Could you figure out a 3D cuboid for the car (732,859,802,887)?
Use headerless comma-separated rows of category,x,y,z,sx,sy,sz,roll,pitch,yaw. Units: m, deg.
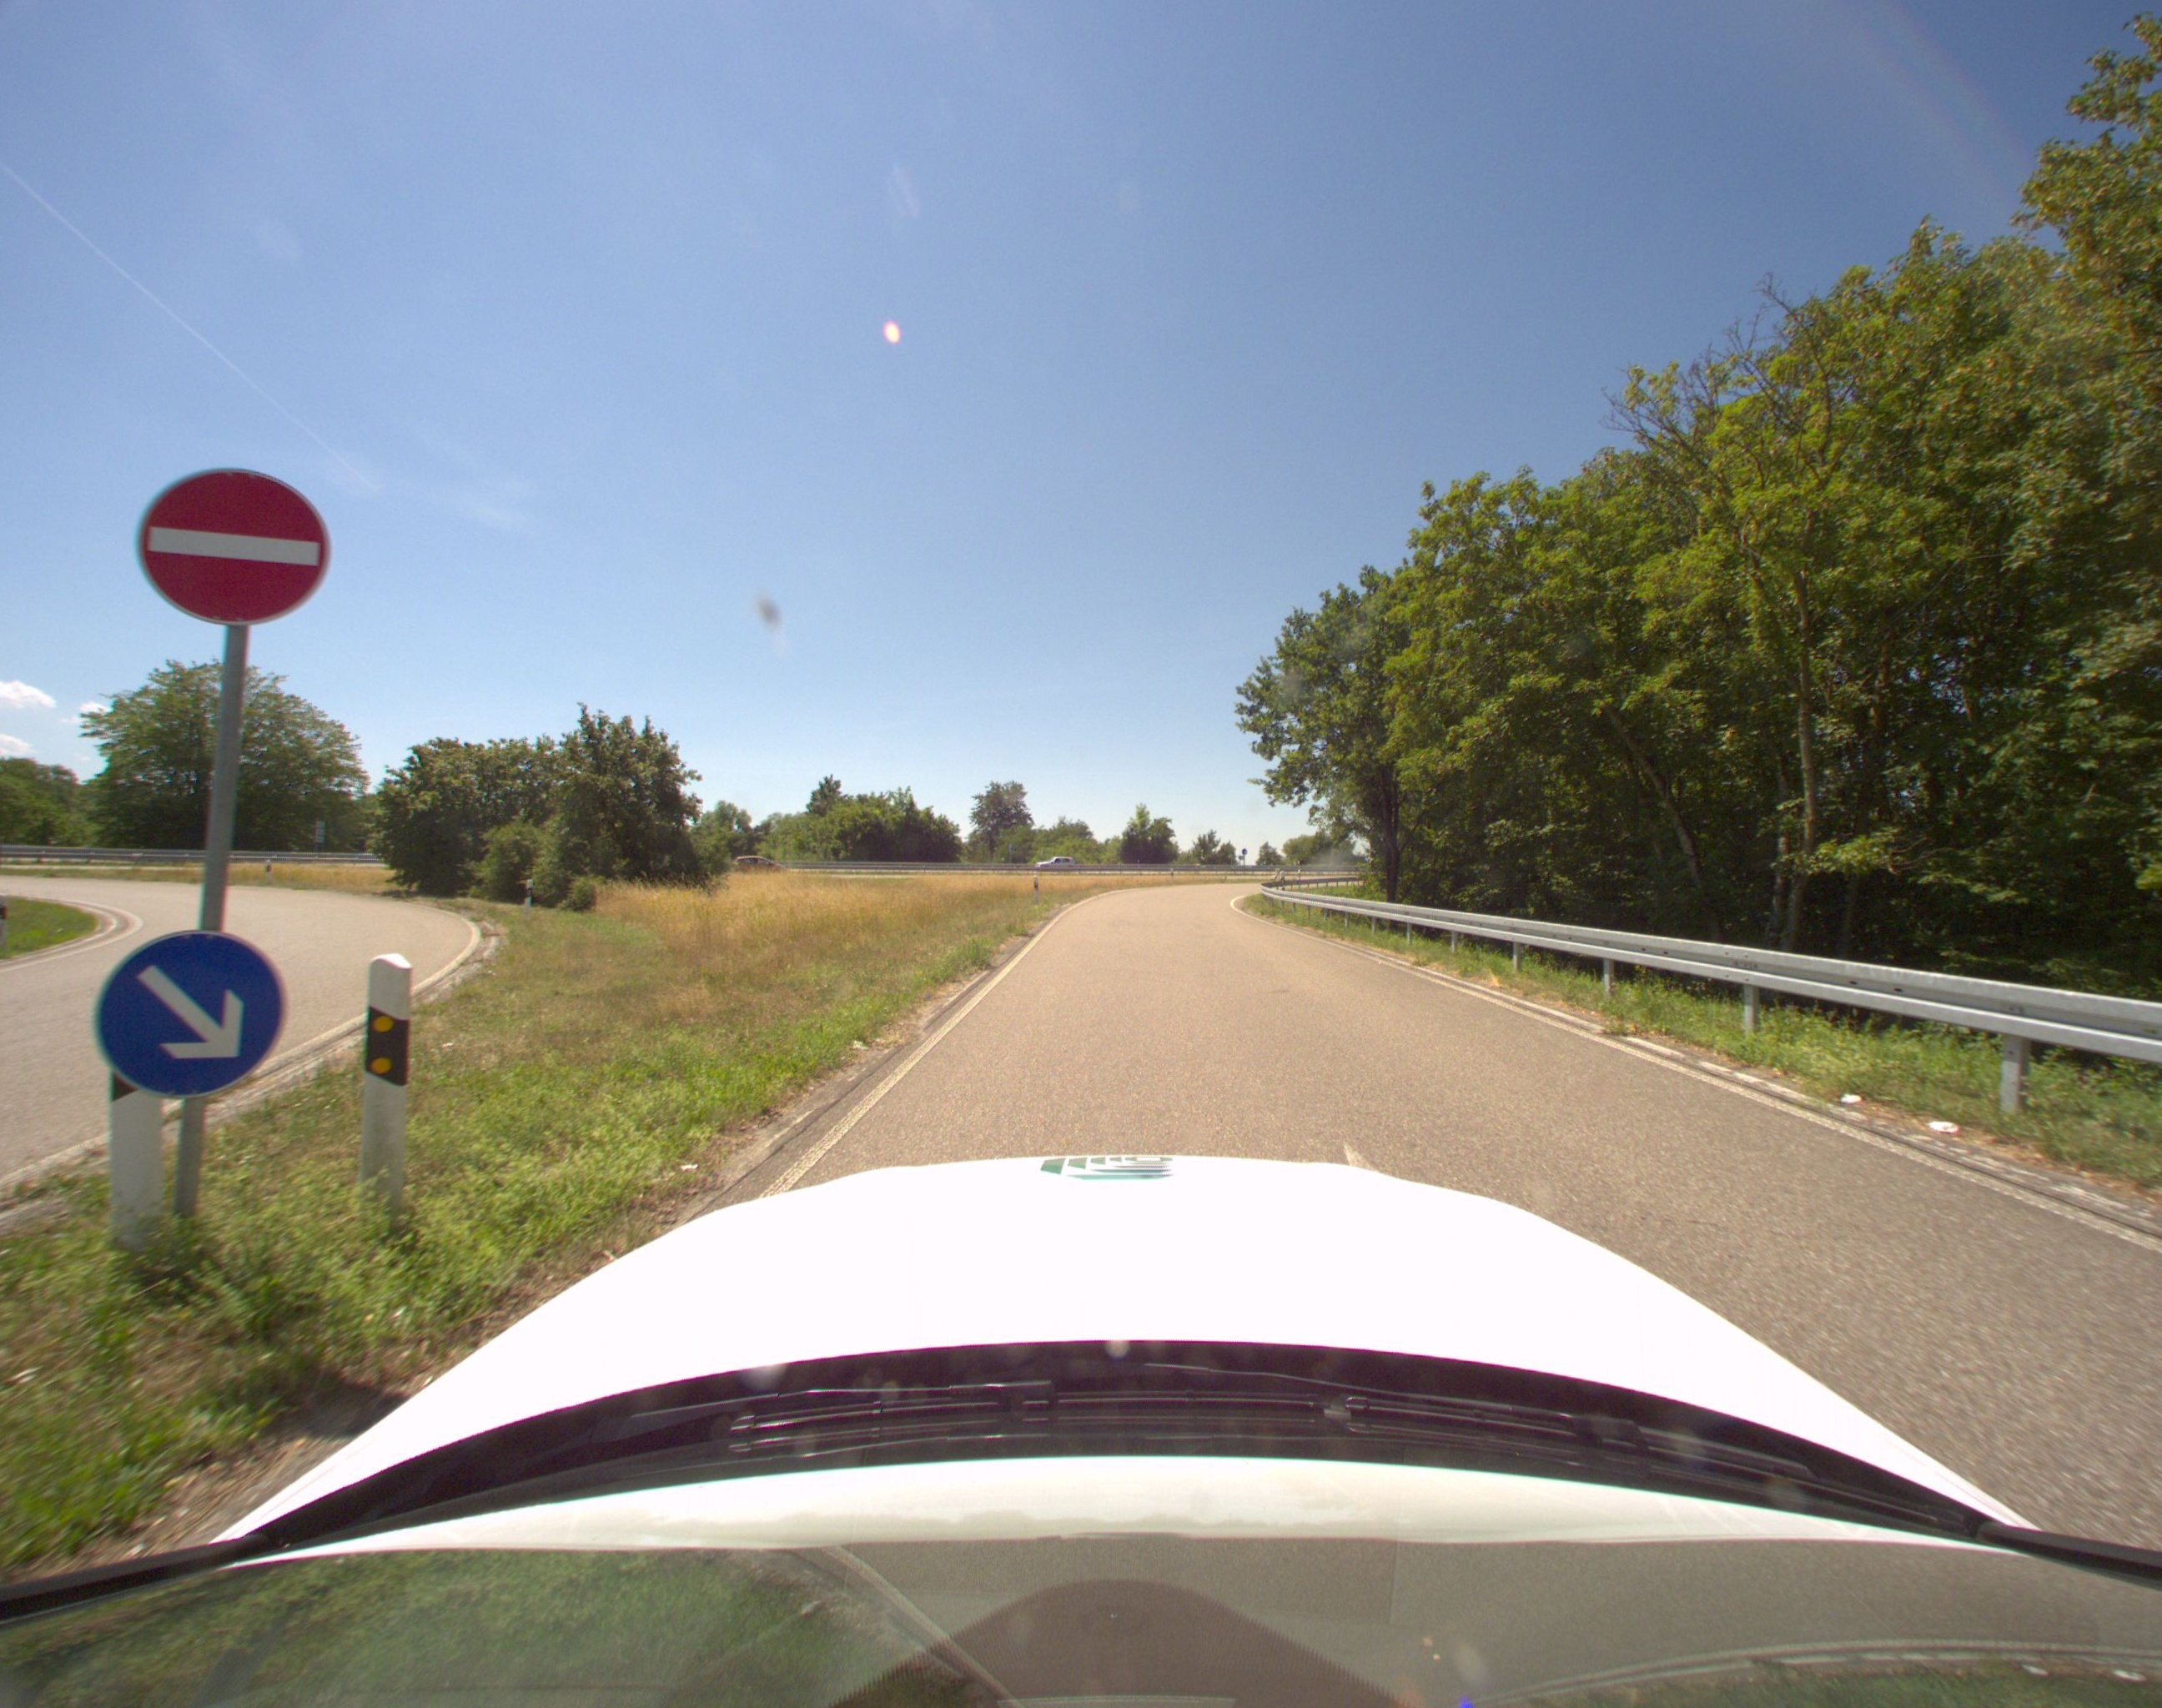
car,-22.166,1.396,57.682,4.528,1.790,1.987,3,-3,-20

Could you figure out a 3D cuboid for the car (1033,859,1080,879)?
car,-2.430,1.479,80.224,4.230,1.790,1.984,3,-3,-23
